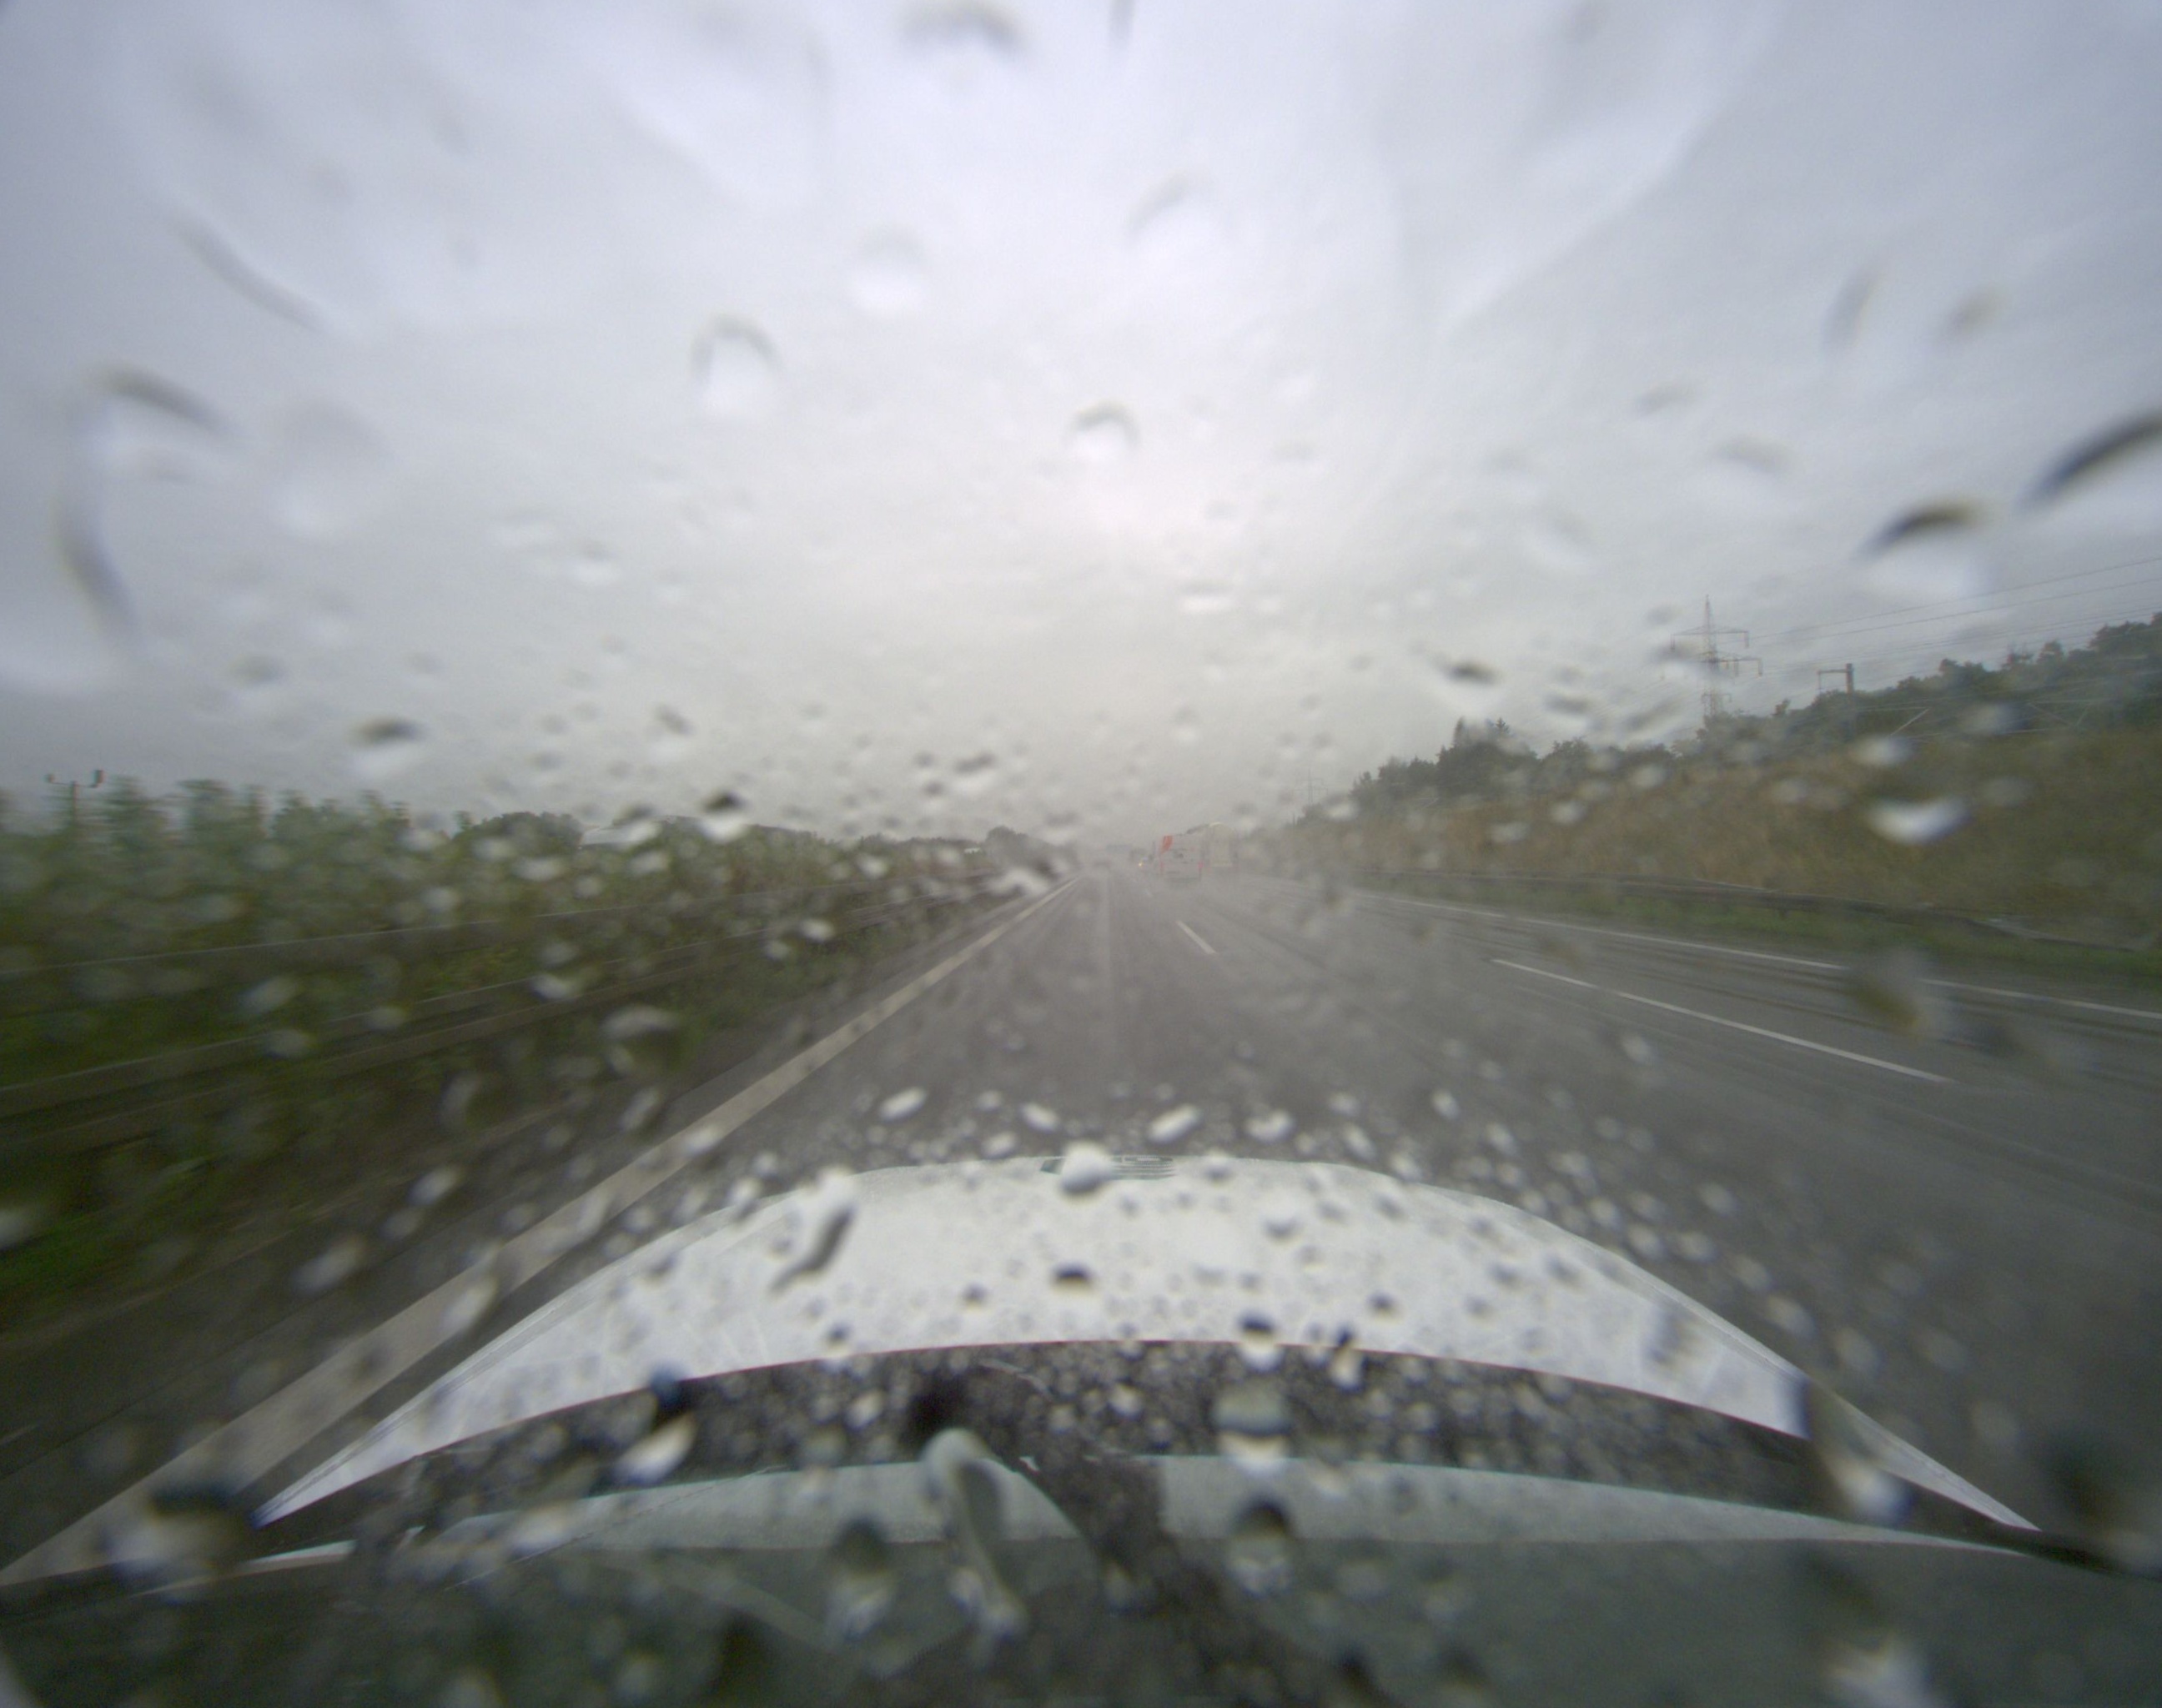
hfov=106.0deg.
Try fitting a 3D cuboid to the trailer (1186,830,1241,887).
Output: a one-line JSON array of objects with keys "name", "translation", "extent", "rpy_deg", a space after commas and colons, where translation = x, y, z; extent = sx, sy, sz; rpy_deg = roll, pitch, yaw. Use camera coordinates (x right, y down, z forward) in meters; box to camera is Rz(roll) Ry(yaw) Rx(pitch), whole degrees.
[{"name": "trailer", "translation": [9.791, 0.339, 61.225], "extent": [2.488, 3.882, 11.067], "rpy_deg": [0, -1, 1]}]

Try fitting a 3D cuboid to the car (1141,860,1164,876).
[{"name": "car", "translation": [5.954, 1.145, 68.120], "extent": [1.600, 1.338, 3.849], "rpy_deg": [0, -1, 1]}]

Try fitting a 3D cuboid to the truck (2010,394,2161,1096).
[{"name": "truck", "translation": [7.135, -0.627, 2.114], "extent": [2.442, 3.889, 6.201], "rpy_deg": [0, -1, 2]}]

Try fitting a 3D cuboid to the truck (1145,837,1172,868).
[{"name": "truck", "translation": [12.525, -0.030, 132.918], "extent": [3.029, 4.588, 16.349], "rpy_deg": [0, -1, 1]}]

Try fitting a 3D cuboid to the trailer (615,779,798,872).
[{"name": "trailer", "translation": [-17.766, -1.108, 40.272], "extent": [2.286, 3.804, 13.617], "rpy_deg": [0, 0, 2]}]

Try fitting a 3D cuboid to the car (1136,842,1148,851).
[{"name": "car", "translation": [14.476, -1.782, 193.480], "extent": [2.778, 2.014, 4.994], "rpy_deg": [0, -1, 1]}]

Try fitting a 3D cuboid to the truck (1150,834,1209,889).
[{"name": "truck", "translation": [4.765, 0.368, 40.125], "extent": [2.410, 2.492, 5.562], "rpy_deg": [0, -1, 2]}]

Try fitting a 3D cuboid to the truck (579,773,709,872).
[{"name": "truck", "translation": [-17.974, -1.185, 33.891], "extent": [2.308, 3.805, 5.402], "rpy_deg": [0, -1, 2]}]

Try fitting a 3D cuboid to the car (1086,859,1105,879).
[{"name": "car", "translation": [1.418, 1.372, 76.269], "extent": [1.695, 1.818, 3.863], "rpy_deg": [0, -1, 2]}]
